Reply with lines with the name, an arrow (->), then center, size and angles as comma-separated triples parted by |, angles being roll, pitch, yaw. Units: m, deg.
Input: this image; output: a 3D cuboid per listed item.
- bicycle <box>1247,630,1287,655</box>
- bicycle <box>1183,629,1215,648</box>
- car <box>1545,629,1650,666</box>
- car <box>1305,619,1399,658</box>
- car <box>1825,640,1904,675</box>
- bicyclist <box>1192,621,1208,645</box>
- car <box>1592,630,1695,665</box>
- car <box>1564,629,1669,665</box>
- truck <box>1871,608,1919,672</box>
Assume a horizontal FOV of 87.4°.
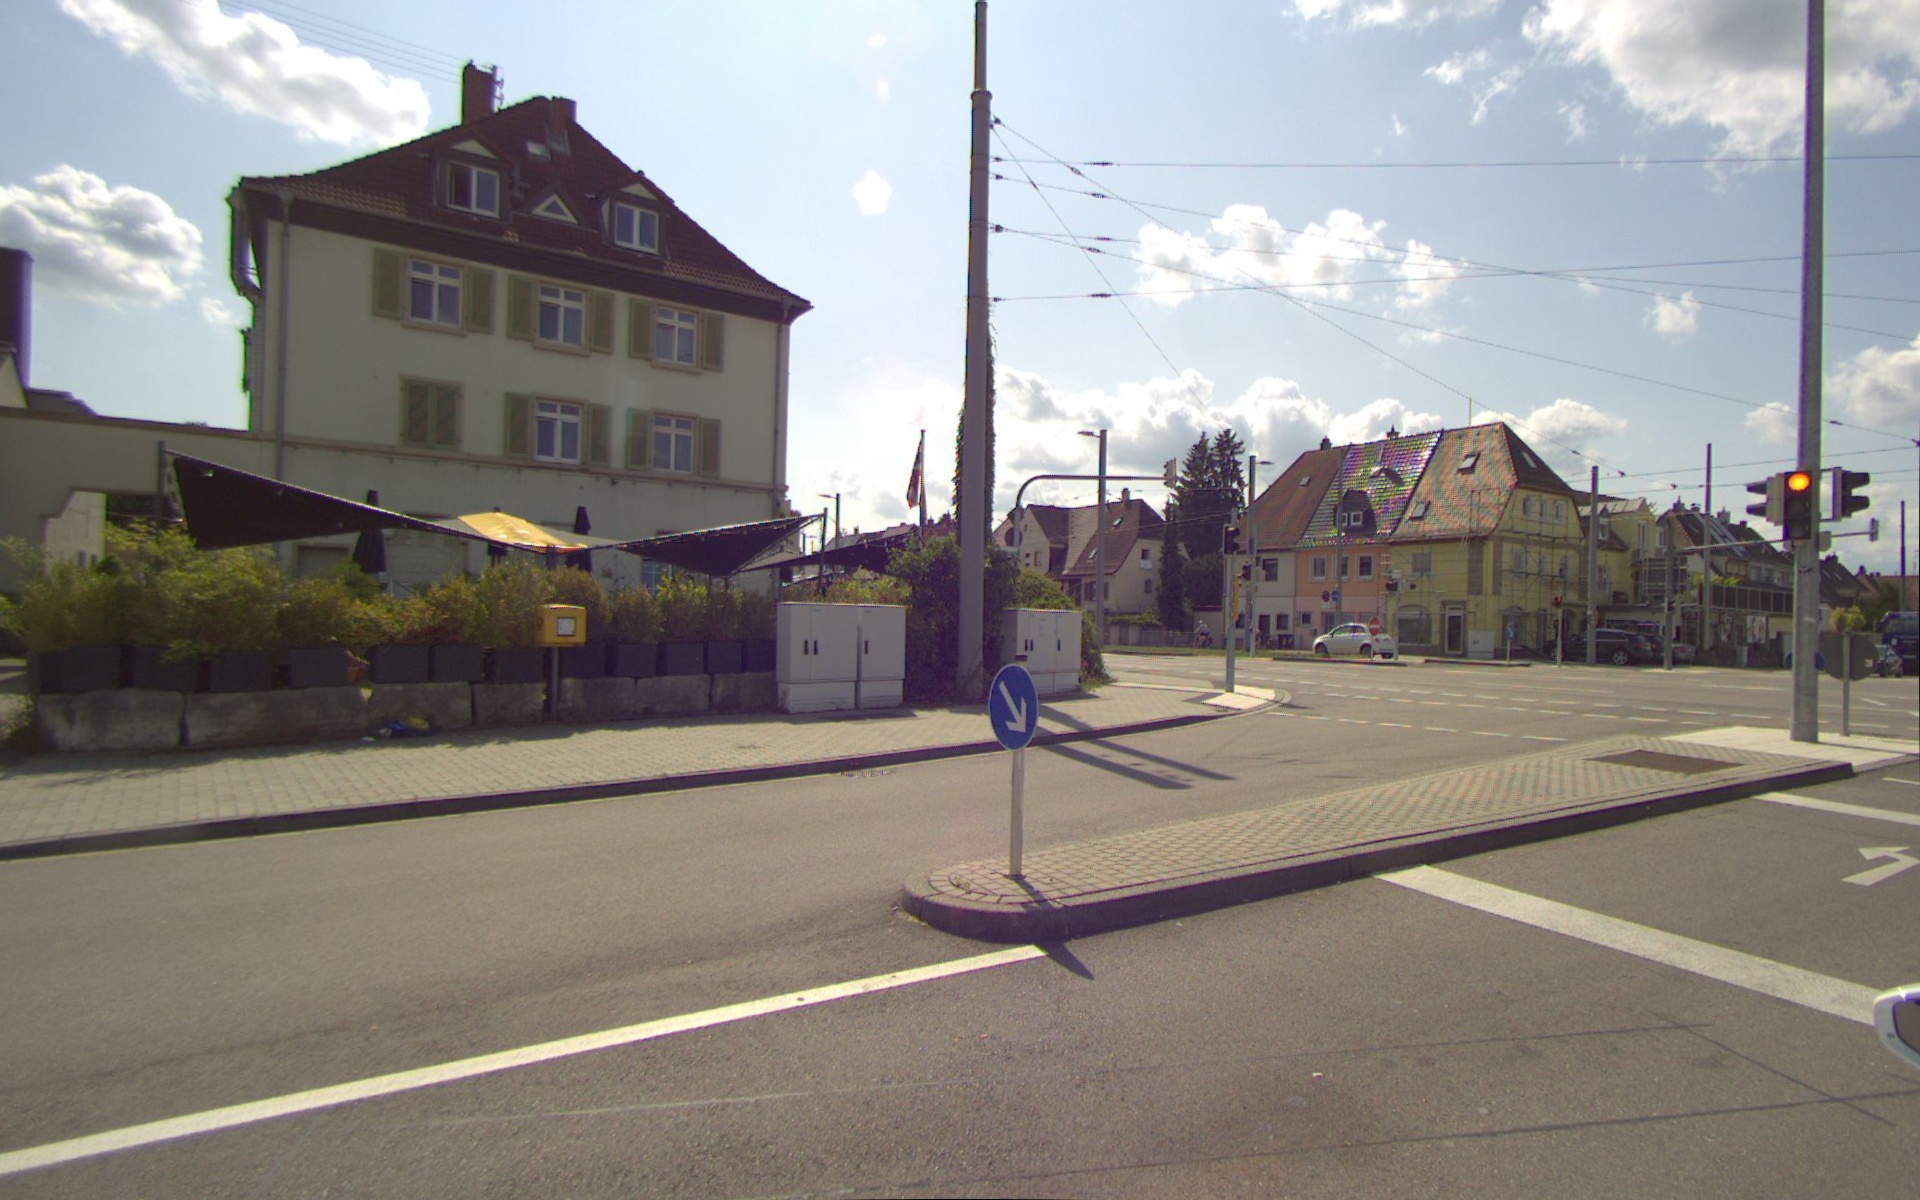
bicycle -> 18.063, 2.507, 59.082 | 2.428, 1.374, 0.770 | 2, 0, -29
bicycle -> 14.331, 2.322, 60.211 | 0.687, 1.092, 1.888 | 1, -1, -33
car -> 30.750, 2.255, 48.556 | 1.168, 1.513, 4.103 | 2, 0, -37
car -> 16.967, 1.645, 43.624 | 1.569, 1.528, 3.517 | 2, 0, -34
car -> 41.592, 2.639, 46.178 | 4.291, 1.506, 1.816 | 3, -2, -35
bicyclist -> 14.383, 1.966, 60.153 | 0.571, 1.416, 0.717 | 1, -1, -34
car -> 35.098, 2.435, 51.689 | 1.422, 1.513, 4.103 | 2, 0, -37
car -> 32.809, 2.323, 50.296 | 1.493, 1.513, 4.103 | 2, 0, -37
truck -> 50.854, 2.149, 53.147 | 7.516, 3.230, 2.747 | 3, -2, -38
